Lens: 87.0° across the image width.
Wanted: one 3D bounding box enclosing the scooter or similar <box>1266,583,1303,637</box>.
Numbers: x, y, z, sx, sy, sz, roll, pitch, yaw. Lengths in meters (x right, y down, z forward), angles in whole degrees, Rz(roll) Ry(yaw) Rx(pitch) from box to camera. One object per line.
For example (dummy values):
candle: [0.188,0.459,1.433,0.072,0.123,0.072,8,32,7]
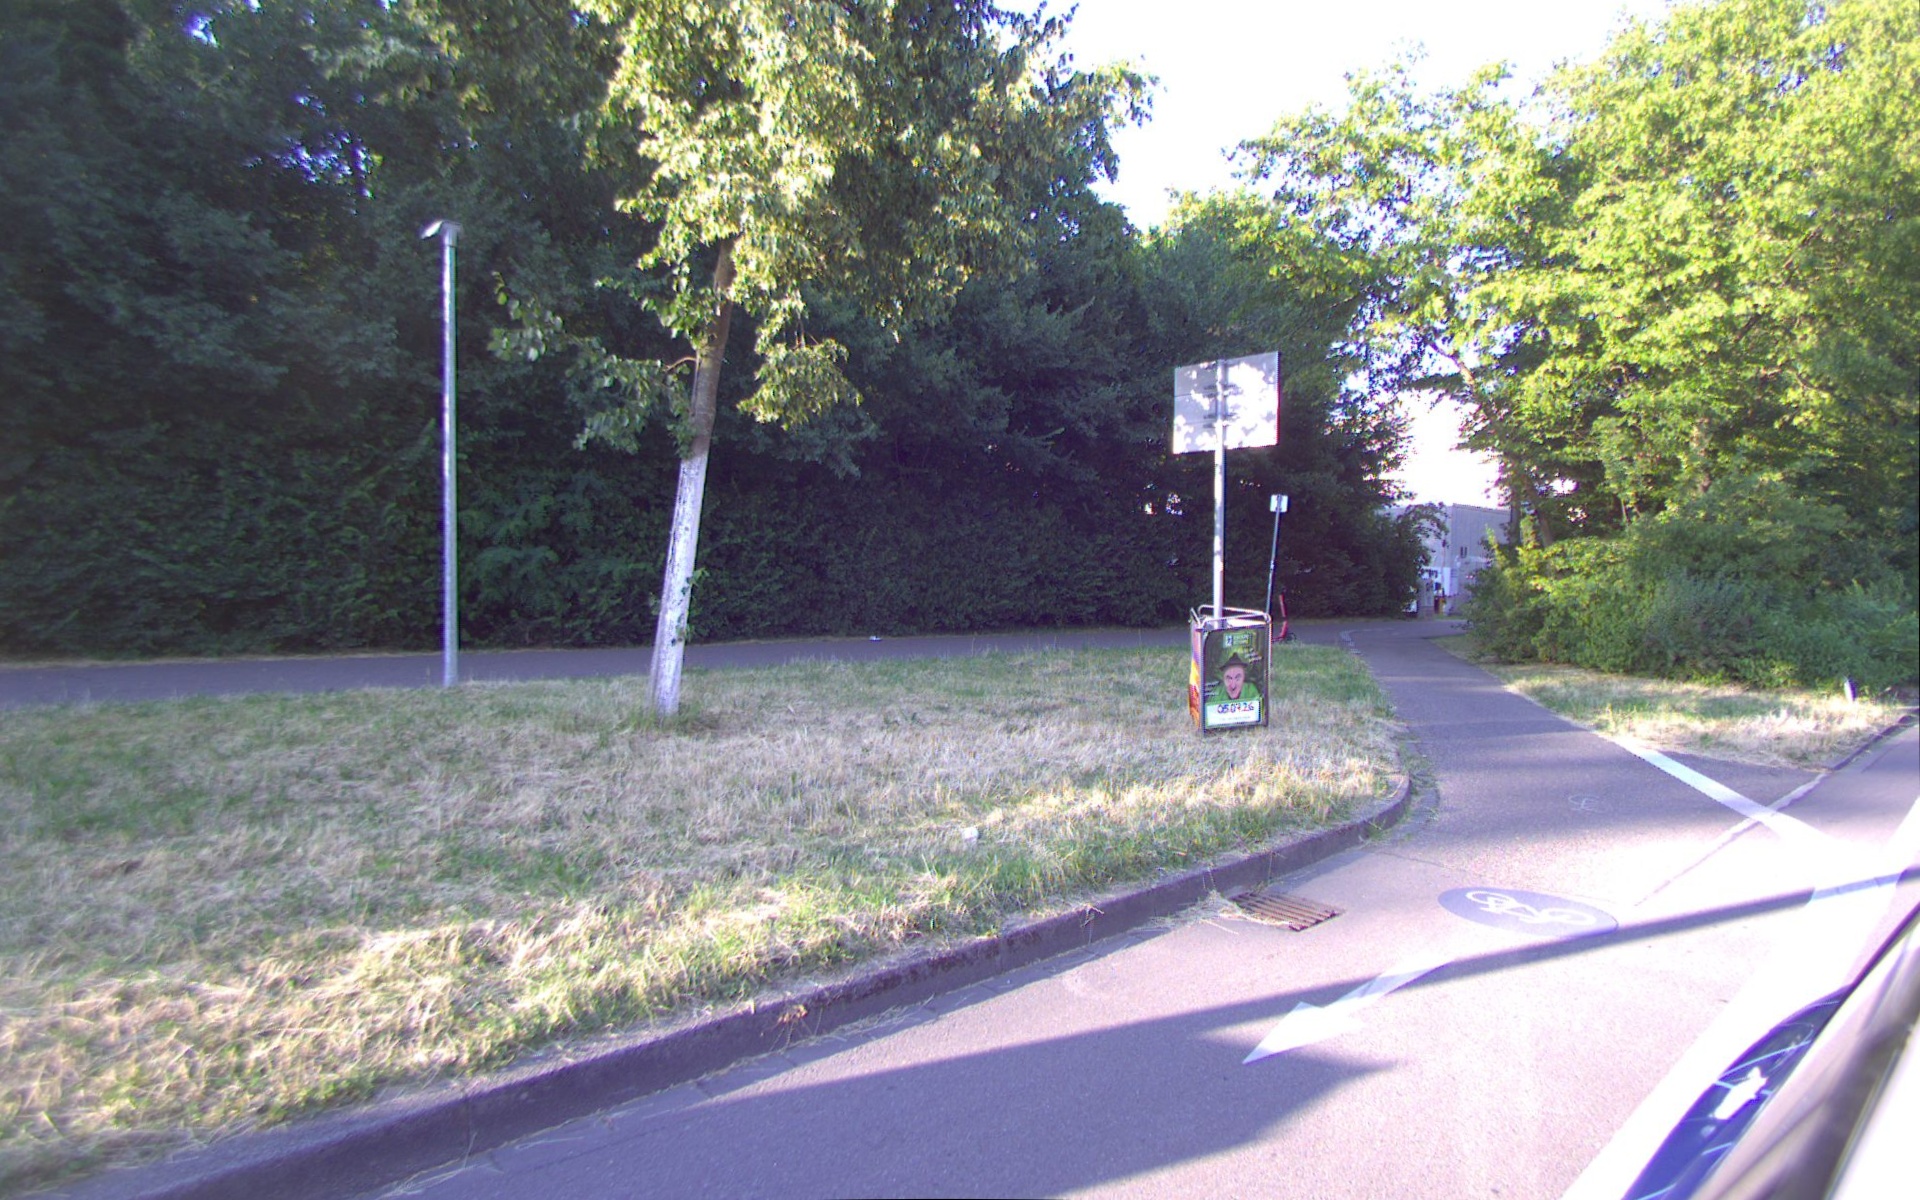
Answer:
scooter or similar: [6.730,0.203,20.996,0.819,1.100,0.194,1,-1,-26]
